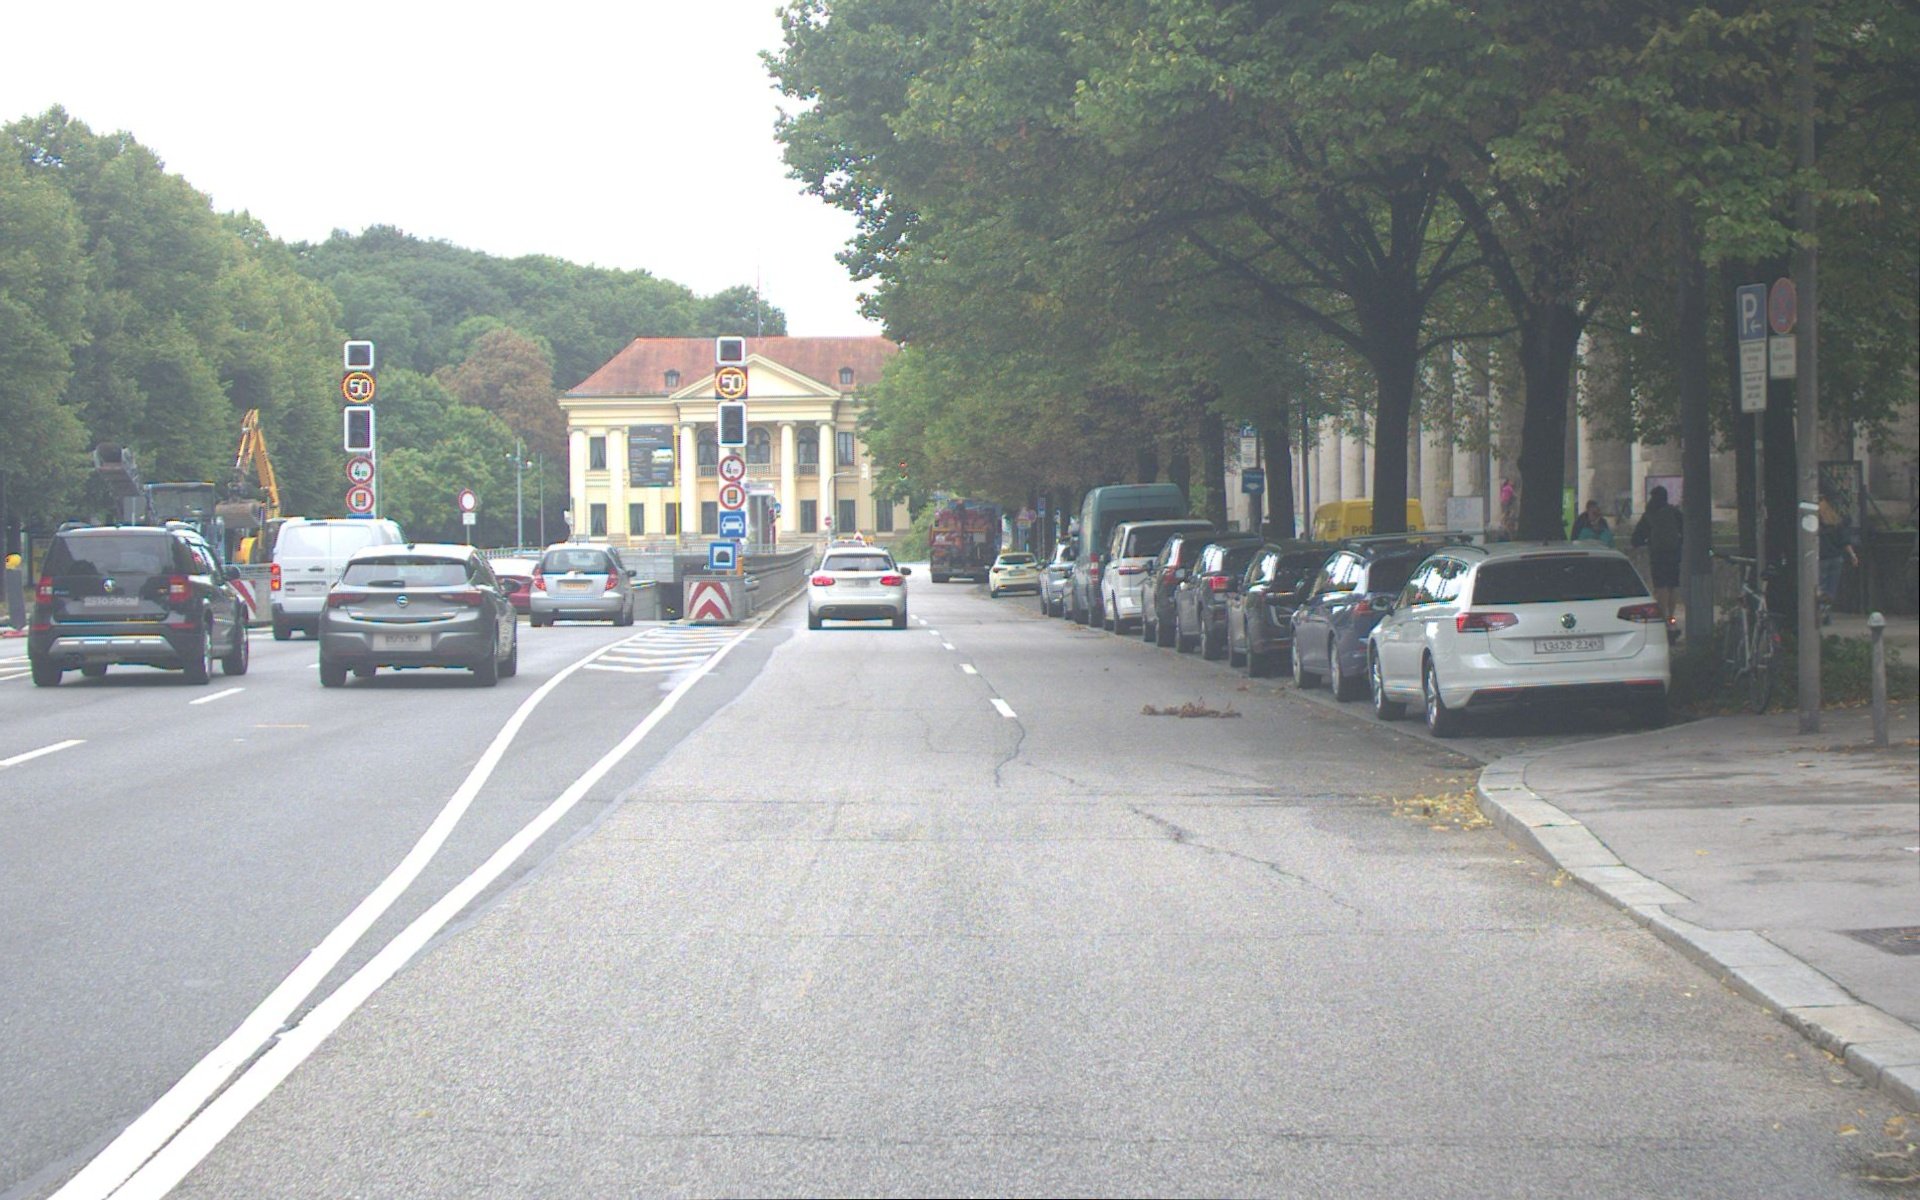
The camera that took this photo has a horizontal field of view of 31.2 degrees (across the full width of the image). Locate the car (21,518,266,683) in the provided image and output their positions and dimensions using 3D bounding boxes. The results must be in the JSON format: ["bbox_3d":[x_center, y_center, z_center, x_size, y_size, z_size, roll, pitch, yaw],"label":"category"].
[{"bbox_3d":[-8.627,-0.027,36.641,1.722,1.631,4.205,-1,1,-2],"label":"car"}]

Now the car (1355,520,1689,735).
[{"bbox_3d":[4.413,0.157,27.700,1.827,1.544,4.752,-1,1,-1],"label":"car"}]

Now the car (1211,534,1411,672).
[{"bbox_3d":[3.975,-0.010,39.643,1.724,1.459,4.776,-1,1,-1],"label":"car"}]

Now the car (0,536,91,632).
[{"bbox_3d":[-16.470,-0.286,59.735,1.993,1.590,4.001,-1,1,-5],"label":"car"}]

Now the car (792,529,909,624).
[{"bbox_3d":[-2.028,-0.454,62.437,1.779,1.639,4.001,0,1,-7],"label":"car"}]

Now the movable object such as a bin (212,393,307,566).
[{"bbox_3d":[-26.912,-4.582,132.260,2.699,6.488,5.176,1,1,-1],"label":"movable object such as a bin"}]

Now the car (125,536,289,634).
[{"bbox_3d":[-13.045,-0.290,59.811,1.993,1.590,4.000,-1,1,-1],"label":"car"}]

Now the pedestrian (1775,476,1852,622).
[{"bbox_3d":[11.286,-0.675,45.476,0.779,1.903,0.771,1,1,-1],"label":"pedestrian"}]

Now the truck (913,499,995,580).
[{"bbox_3d":[-0.329,-2.637,149.508,3.325,3.355,8.663,1,1,-1],"label":"truck"}]

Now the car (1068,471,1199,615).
[{"bbox_3d":[3.273,-1.104,65.716,1.993,2.634,4.878,1,1,-3],"label":"car"}]

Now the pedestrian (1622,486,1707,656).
[{"bbox_3d":[7.962,-0.332,38.875,0.779,1.903,0.771,1,1,-1],"label":"pedestrian"}]

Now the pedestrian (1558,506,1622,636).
[{"bbox_3d":[9.283,-0.430,50.669,0.779,1.903,0.771,1,1,-1],"label":"pedestrian"}]

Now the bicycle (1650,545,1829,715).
[{"bbox_3d":[5.990,0.200,26.579,0.628,1.227,2.619,1,1,-3],"label":"bicycle"}]

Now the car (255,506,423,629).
[{"bbox_3d":[-9.787,-0.526,54.515,1.898,1.841,4.956,-1,1,-2],"label":"car"}]

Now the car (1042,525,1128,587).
[{"bbox_3d":[2.788,-1.010,77.424,1.724,1.319,4.028,-1,1,-1],"label":"car"}]

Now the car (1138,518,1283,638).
[{"bbox_3d":[3.652,-0.351,50.775,1.724,1.659,4.590,-1,1,-1],"label":"car"}]

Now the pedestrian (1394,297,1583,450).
[{"bbox_3d":[7.571,-3.222,49.608,1.993,2.007,4.000,1,1,-1],"label":"pedestrian"}]

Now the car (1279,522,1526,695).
[{"bbox_3d":[4.244,0.035,33.596,1.724,1.544,4.586,-1,1,-1],"label":"car"}]

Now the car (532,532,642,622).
[{"bbox_3d":[-7.076,-0.467,65.517,1.779,1.648,4.001,1,1,-2],"label":"car"}]

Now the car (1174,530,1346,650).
[{"bbox_3d":[3.885,-0.161,45.105,1.822,1.459,4.028,-1,1,-1],"label":"car"}]

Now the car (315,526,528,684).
[{"bbox_3d":[-5.598,0.011,36.156,1.710,1.546,4.000,1,1,-2],"label":"car"}]

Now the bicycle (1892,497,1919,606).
[{"bbox_3d":[12.850,-0.638,44.854,0.699,1.410,2.299,-1,1,-1],"label":"bicycle"}]

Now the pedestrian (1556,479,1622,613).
[{"bbox_3d":[9.070,-0.782,49.607,0.779,1.903,0.771,1,1,-1],"label":"pedestrian"}]

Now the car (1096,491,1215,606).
[{"bbox_3d":[3.310,-0.890,58.864,1.724,1.861,4.028,-1,1,-1],"label":"car"}]

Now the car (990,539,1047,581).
[{"bbox_3d":[1.898,-1.324,112.398,1.724,1.319,4.028,-1,1,-1],"label":"car"}]
